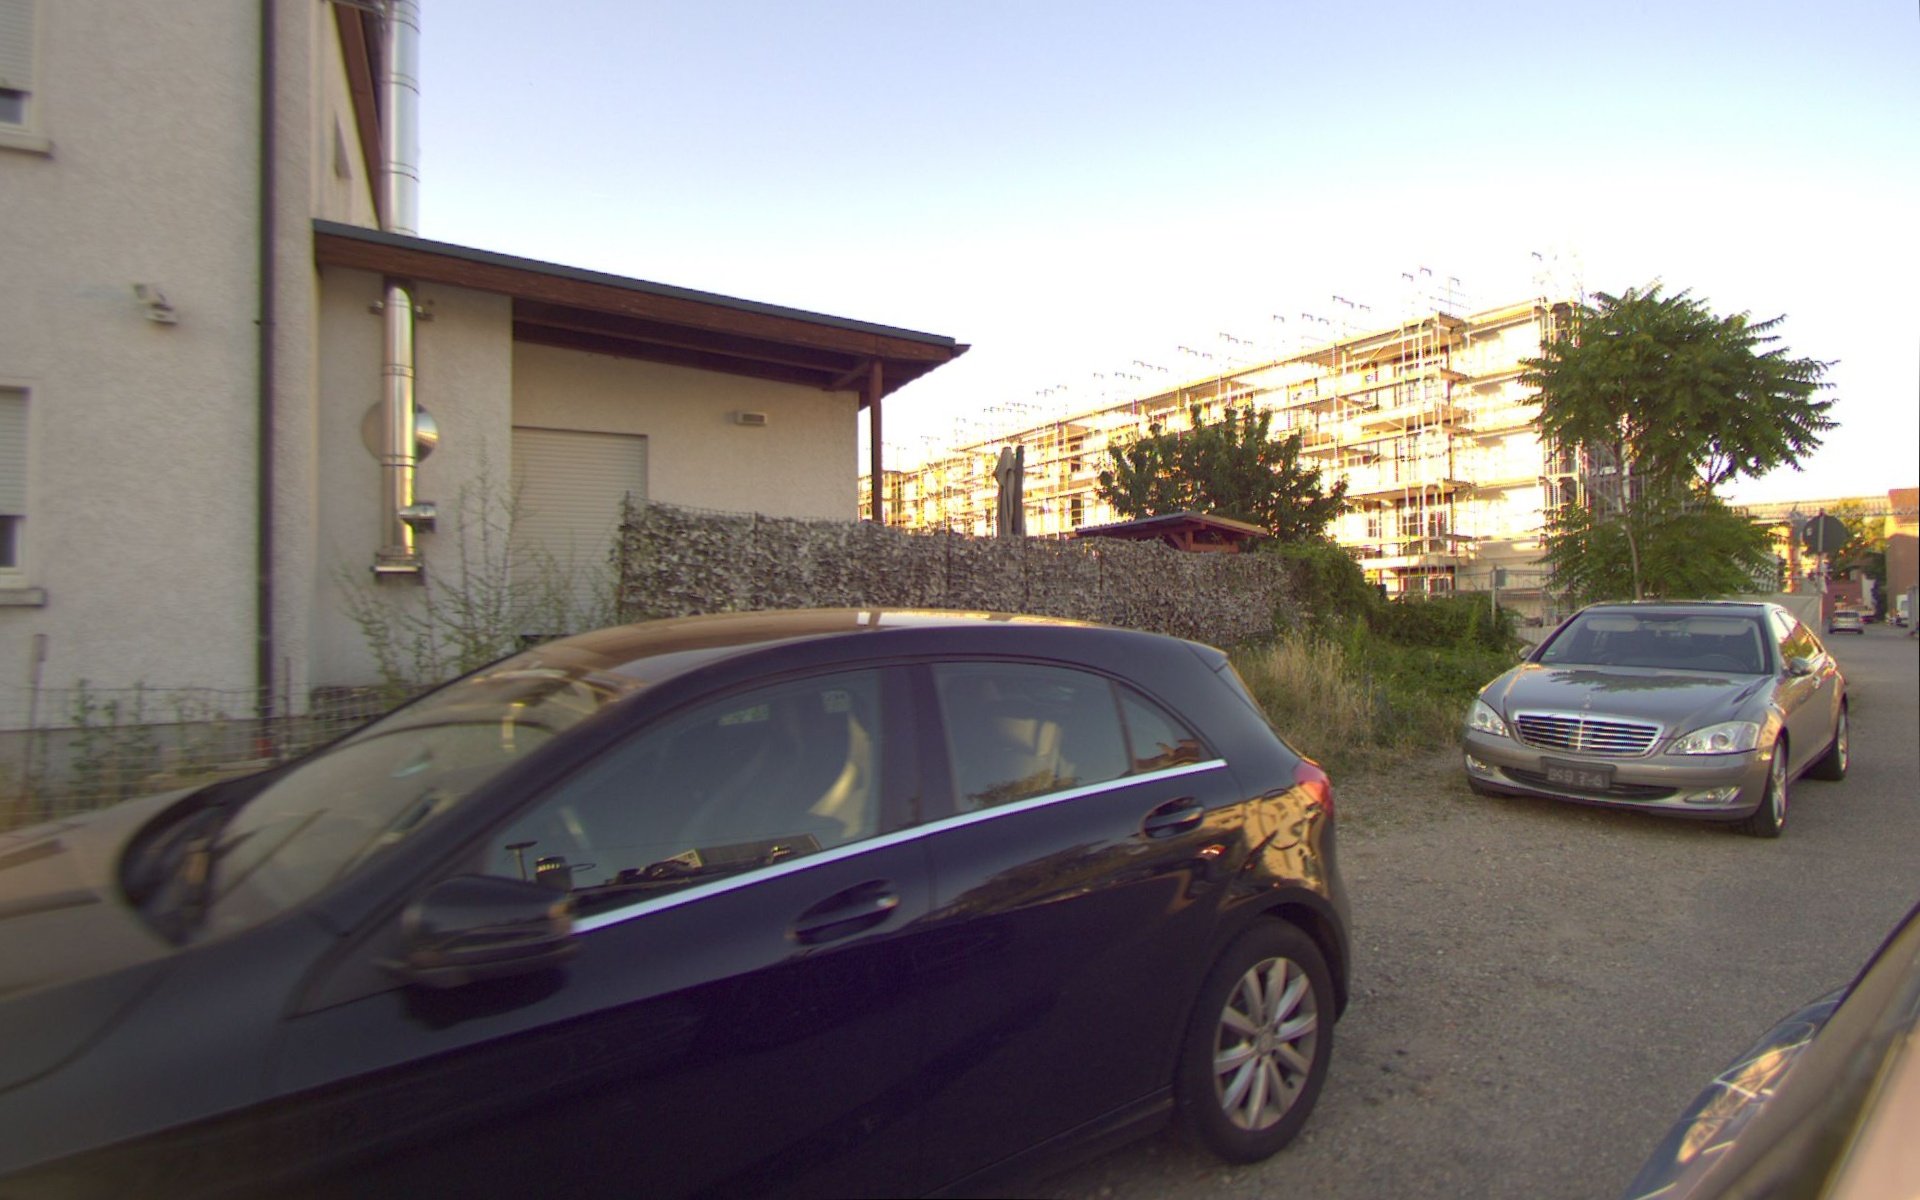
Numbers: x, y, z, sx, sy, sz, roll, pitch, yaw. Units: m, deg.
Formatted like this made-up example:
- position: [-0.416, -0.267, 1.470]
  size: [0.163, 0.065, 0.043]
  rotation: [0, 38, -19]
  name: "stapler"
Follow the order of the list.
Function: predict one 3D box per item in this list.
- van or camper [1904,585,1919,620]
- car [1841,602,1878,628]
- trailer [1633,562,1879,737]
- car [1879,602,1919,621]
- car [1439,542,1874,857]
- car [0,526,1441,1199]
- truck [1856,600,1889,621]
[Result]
- position: [76.833, 0.019, 77.459]
  size: [6.447, 2.675, 2.370]
  rotation: [-5, -4, 42]
  name: "van or camper"
- position: [60.500, 1.002, 68.122]
  size: [1.668, 1.641, 4.222]
  rotation: [-2, -2, 40]
  name: "car"
- position: [10.143, 0.504, 12.737]
  size: [4.854, 1.800, 1.733]
  rotation: [0, 0, -43]
  name: "trailer"
- position: [83.727, 1.008, 89.376]
  size: [3.714, 1.536, 1.781]
  rotation: [-5, -4, 43]
  name: "car"
- position: [5.682, 0.544, 7.948]
  size: [4.845, 1.746, 1.808]
  rotation: [0, 0, -43]
  name: "car"
- position: [-0.710, 0.691, 2.504]
  size: [4.011, 1.538, 1.709]
  rotation: [0, -1, -36]
  name: "car"
- position: [94.461, 1.091, 104.764]
  size: [1.829, 2.129, 3.696]
  rotation: [-4, -3, 33]
  name: "truck"
